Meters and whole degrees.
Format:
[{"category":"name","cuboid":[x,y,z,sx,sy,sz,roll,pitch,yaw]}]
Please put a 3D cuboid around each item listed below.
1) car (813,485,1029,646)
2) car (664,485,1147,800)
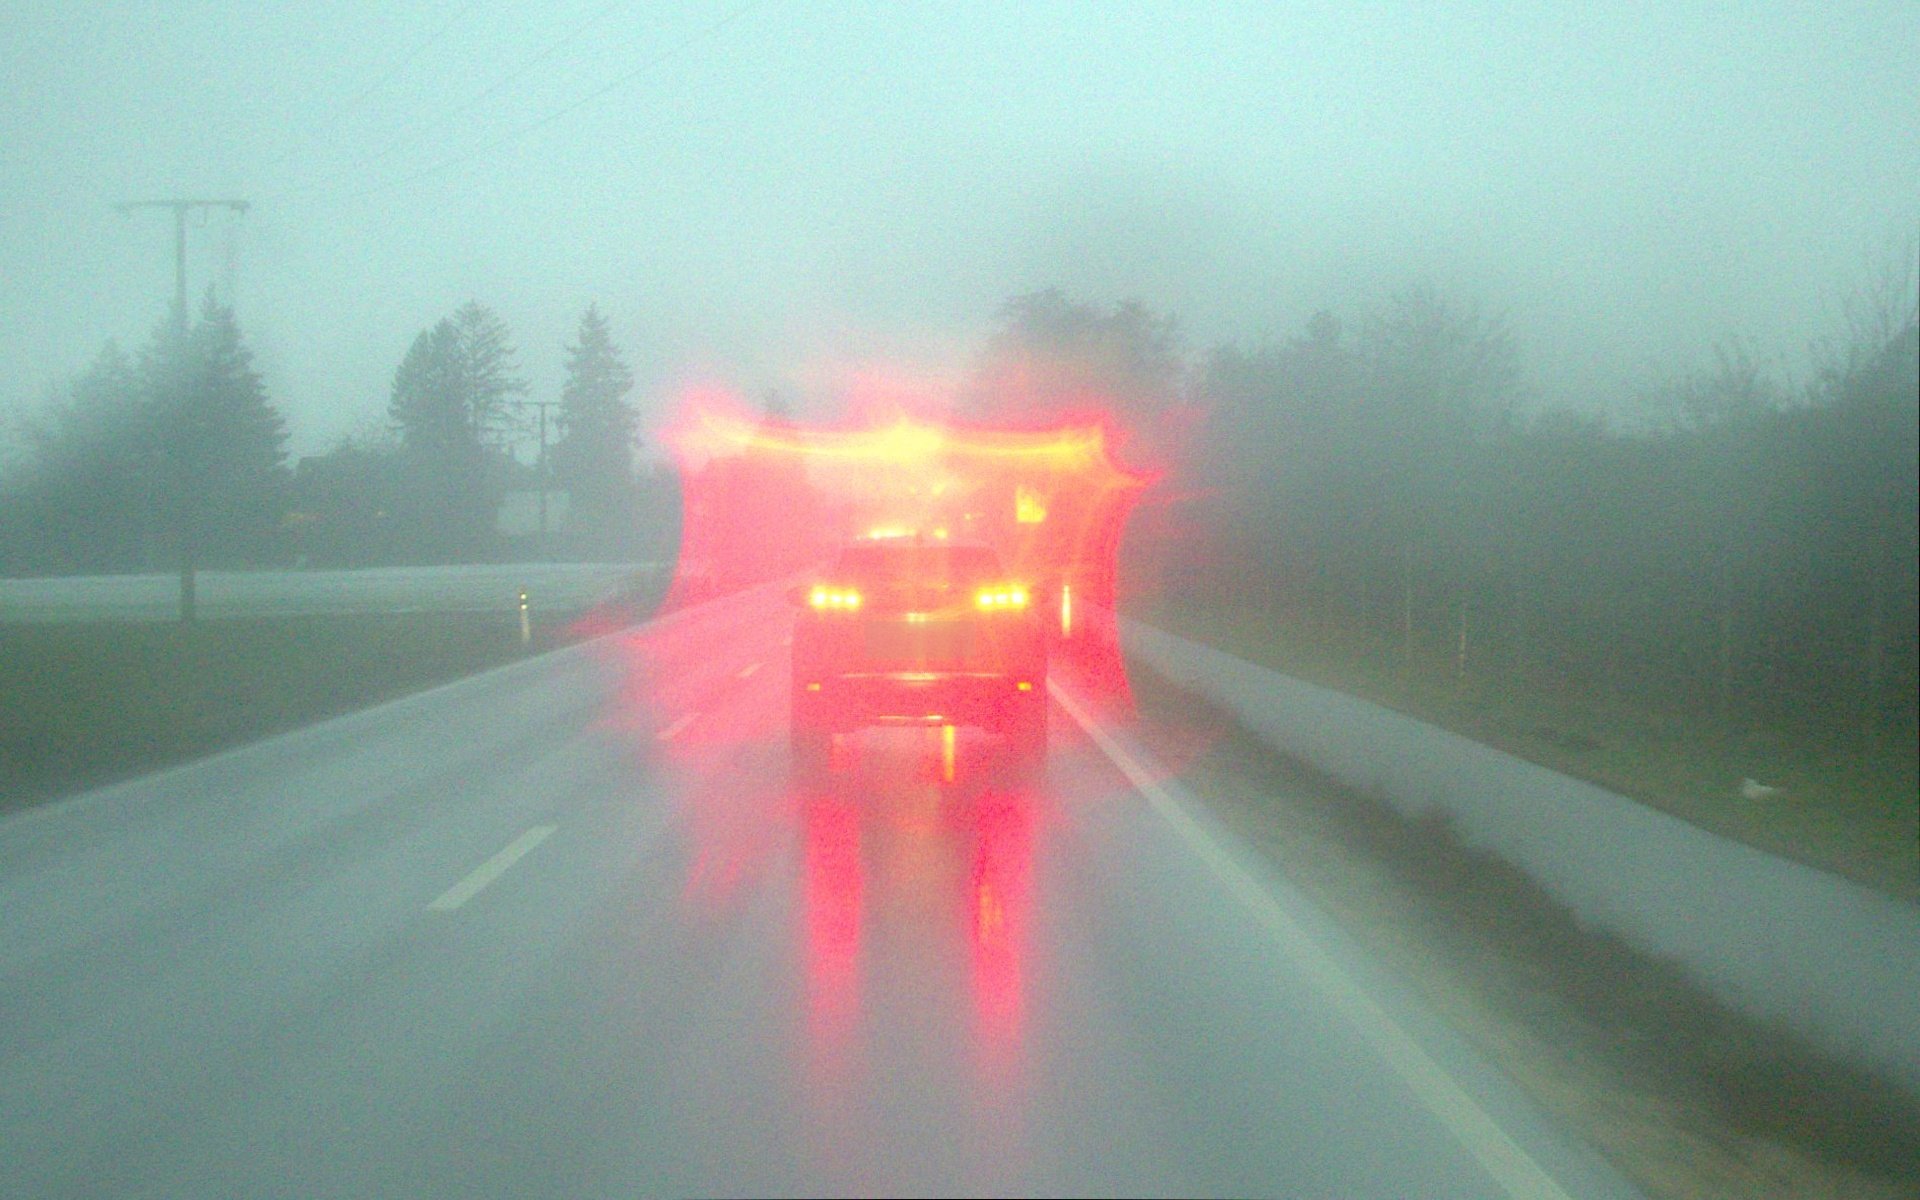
[{"category":"car","cuboid":[-0.502,-0.520,47.708,2.756,2.028,6.591,-1,1,0]},{"category":"car","cuboid":[-0.360,0.204,26.179,3.164,2.028,6.852,-1,1,0]}]
